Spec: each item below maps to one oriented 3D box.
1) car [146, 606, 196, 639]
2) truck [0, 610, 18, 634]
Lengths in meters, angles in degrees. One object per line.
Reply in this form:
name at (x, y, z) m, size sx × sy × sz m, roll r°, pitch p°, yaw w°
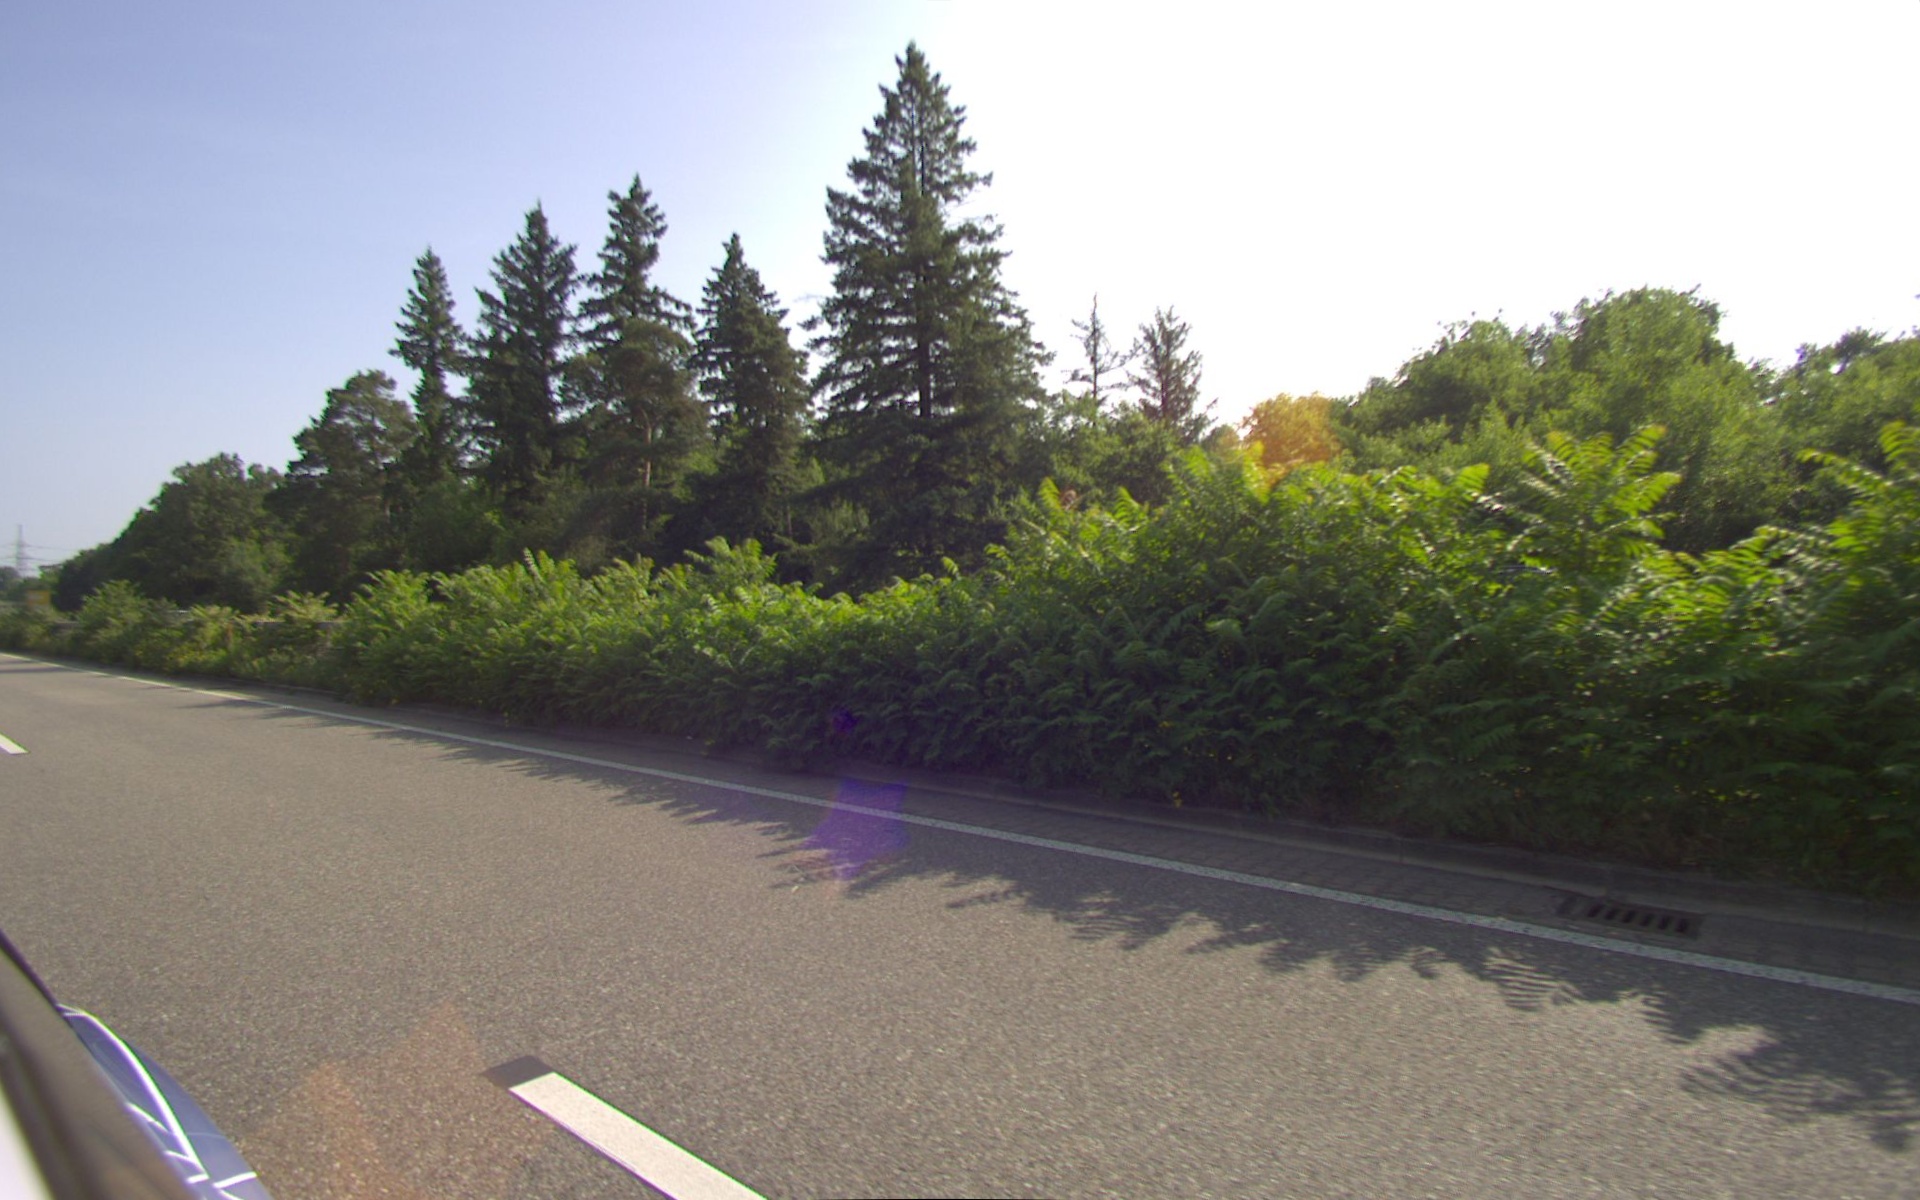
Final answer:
car at (-51.104, 1.409, 65.536) m, size 4.493 × 2.029 × 1.796 m, roll -1°, pitch 0°, yaw 42°
truck at (-128.423, 2.979, 135.661) m, size 7.225 × 3.200 × 2.436 m, roll -1°, pitch -2°, yaw 42°
